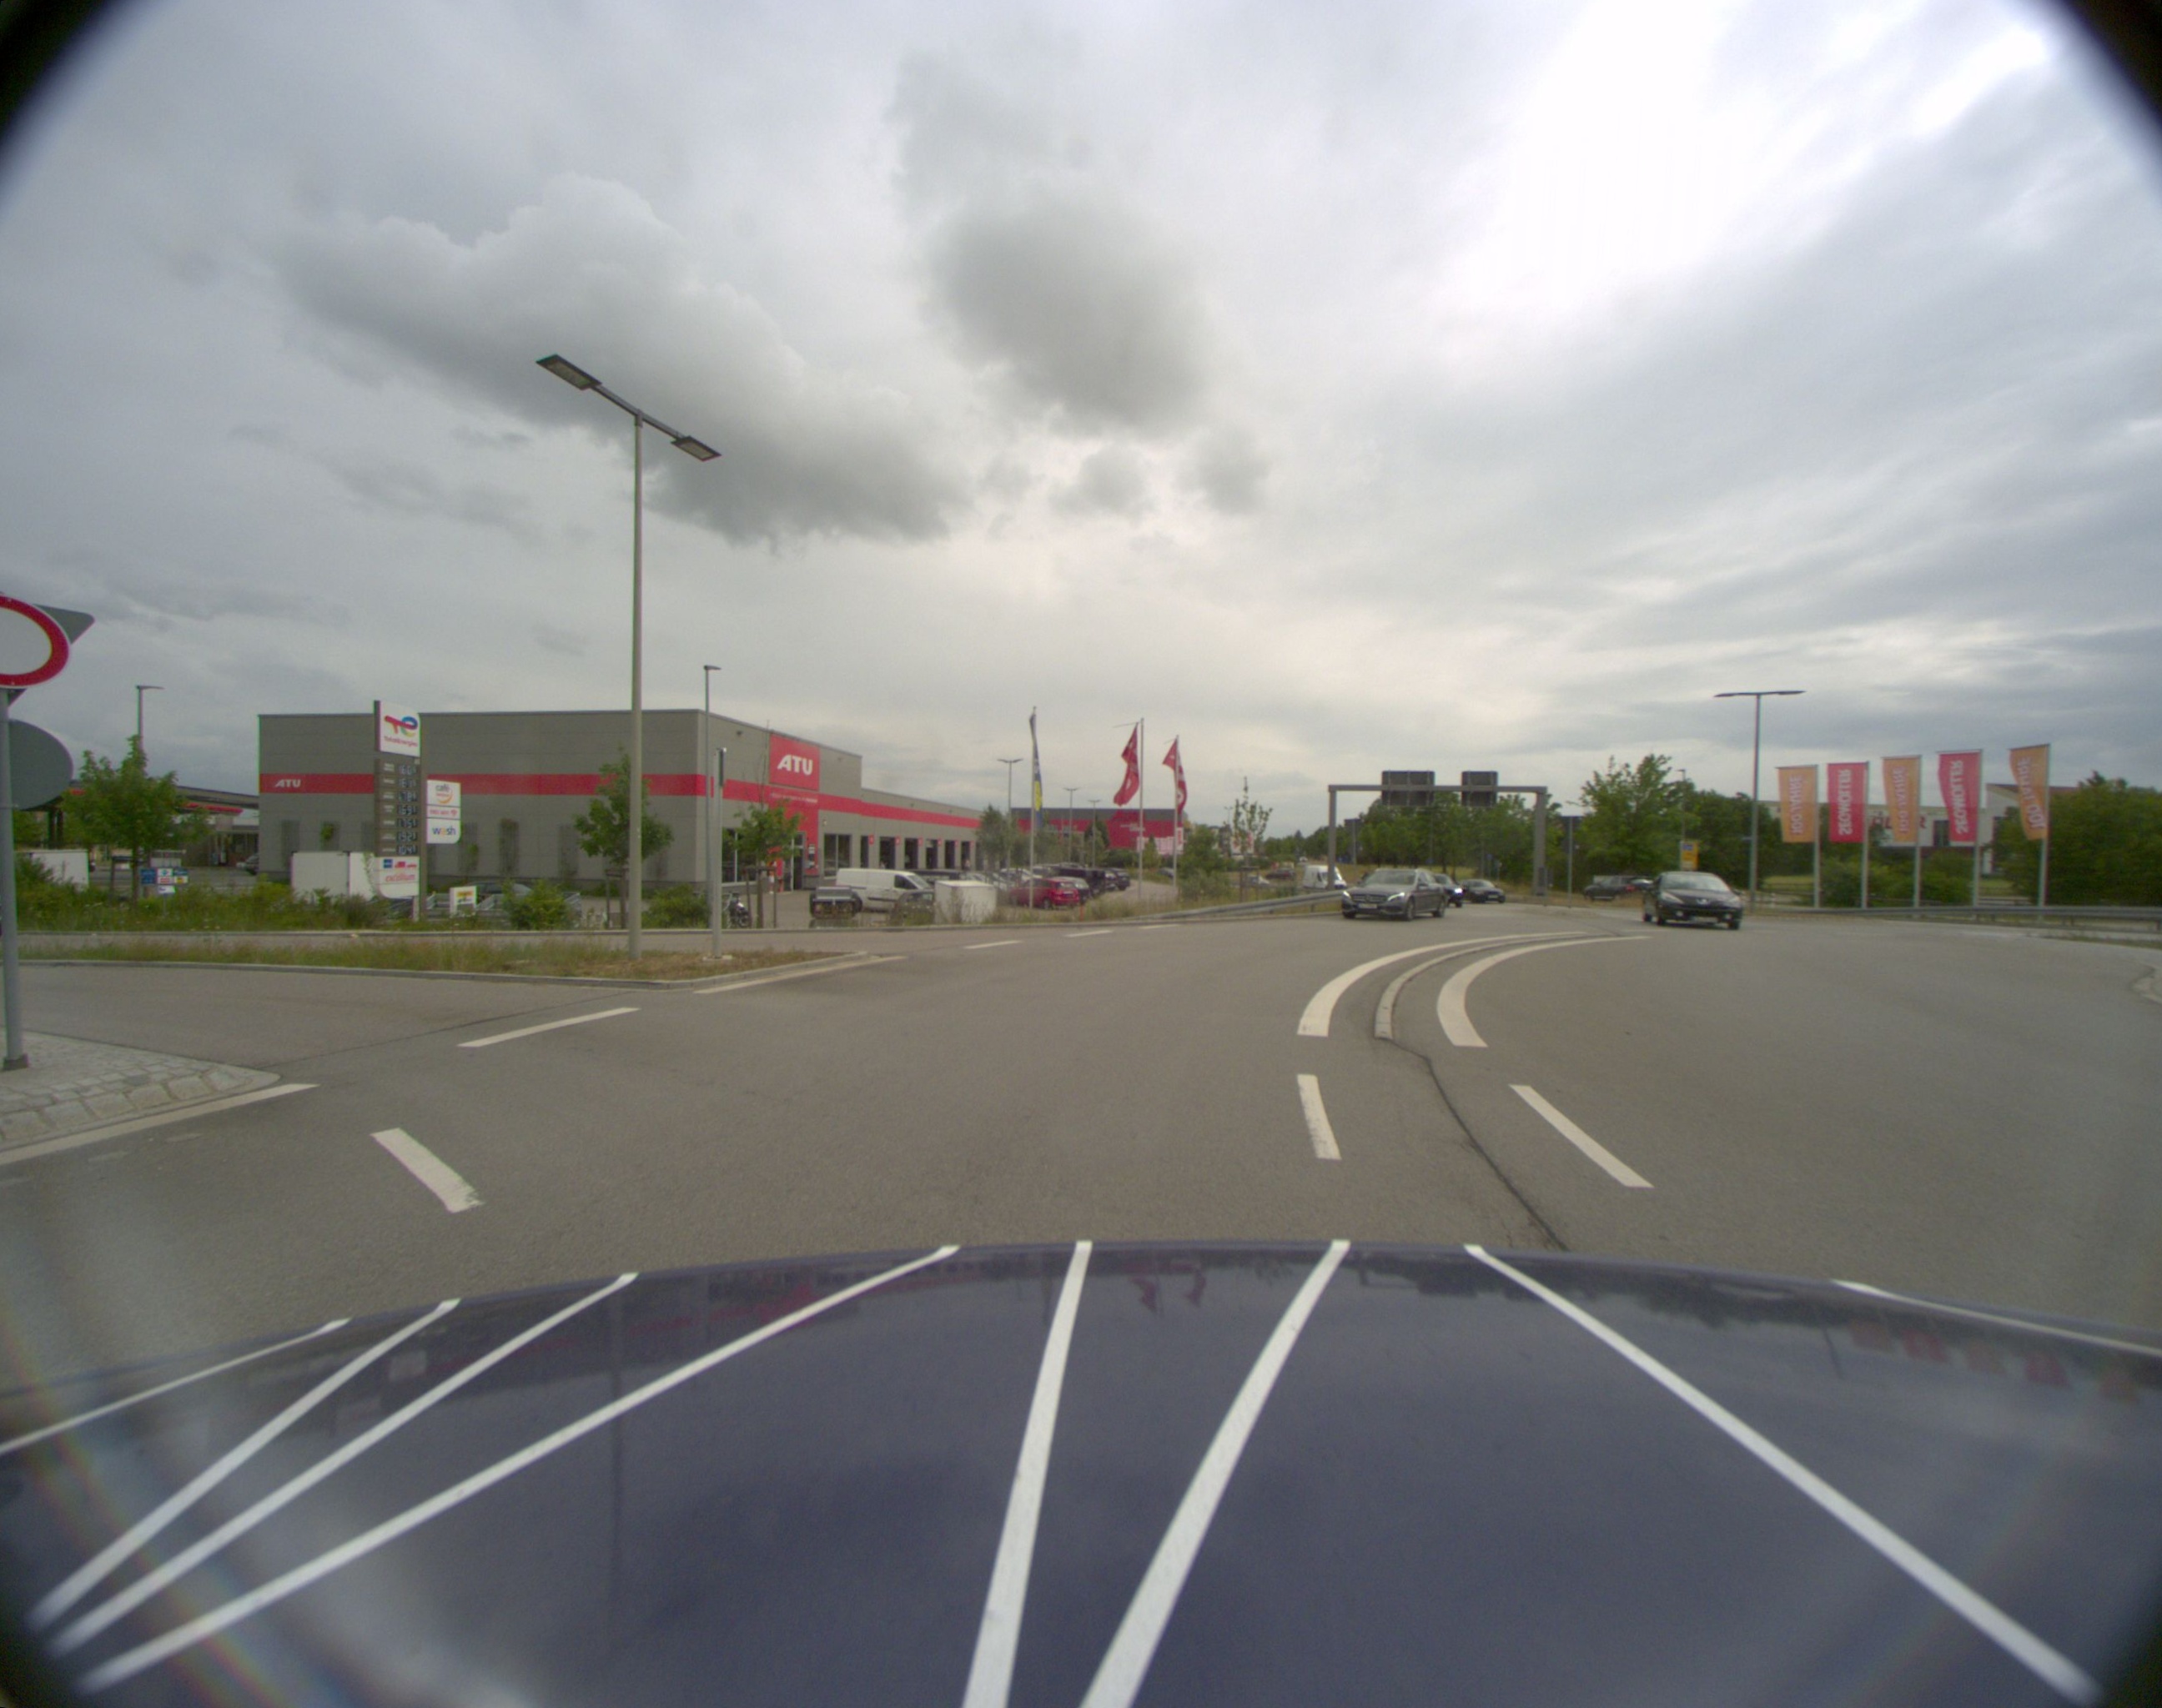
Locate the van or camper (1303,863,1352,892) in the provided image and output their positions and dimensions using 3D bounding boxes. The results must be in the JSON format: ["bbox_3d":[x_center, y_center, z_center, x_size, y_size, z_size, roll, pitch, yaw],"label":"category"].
[{"bbox_3d":[21.481,2.009,66.474,2.053,2.350,5.538,0,0,-5],"label":"van or camper"}]

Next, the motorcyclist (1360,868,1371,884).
[{"bbox_3d":[29.874,2.310,79.741,0.675,1.566,0.846,2,-1,-12],"label":"motorcyclist"}]

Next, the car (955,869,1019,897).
[{"bbox_3d":[-5.792,1.773,47.056,3.695,1.628,1.592,-1,0,6],"label":"car"}]

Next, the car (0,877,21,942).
[{"bbox_3d":[-28.267,1.414,18.245,3.992,1.565,1.919,-2,0,14],"label":"car"}]

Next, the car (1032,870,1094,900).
[{"bbox_3d":[-1.176,1.920,47.220,1.775,1.570,4.065,2,0,-37],"label":"car"}]

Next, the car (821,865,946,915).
[{"bbox_3d":[-8.879,1.583,34.355,5.072,2.035,2.001,1,0,6],"label":"car"}]

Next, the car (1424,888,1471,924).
[{"bbox_3d":[18.044,2.510,37.529,1.856,1.403,4.565,0,0,23],"label":"car"}]

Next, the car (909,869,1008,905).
[{"bbox_3d":[-6.349,1.691,39.547,4.669,1.631,1.916,2,0,6],"label":"car"}]

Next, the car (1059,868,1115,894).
[{"bbox_3d":[0.400,1.882,53.257,1.910,1.701,4.066,2,-1,-34],"label":"car"}]

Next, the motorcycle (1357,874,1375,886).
[{"bbox_3d":[29.920,2.704,79.755,0.703,1.222,2.248,2,-2,-11],"label":"motorcycle"}]

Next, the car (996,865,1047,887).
[{"bbox_3d":[-4.622,1.715,59.456,3.695,1.628,1.592,-1,0,6],"label":"car"}]

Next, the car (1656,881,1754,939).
[{"bbox_3d":[16.577,1.426,20.351,1.576,1.346,3.832,1,-1,33],"label":"car"}]

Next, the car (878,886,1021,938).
[{"bbox_3d":[-4.825,2.105,28.254,4.829,1.665,1.967,1,0,6],"label":"car"}]

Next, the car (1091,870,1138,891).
[{"bbox_3d":[2.732,2.137,62.111,1.740,1.612,4.067,3,-3,-34],"label":"car"}]

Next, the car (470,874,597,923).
[{"bbox_3d":[-20.927,1.644,29.106,3.746,1.565,1.912,-2,0,-40],"label":"car"}]

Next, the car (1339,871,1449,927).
[{"bbox_3d":[9.021,1.237,21.720,1.760,1.411,4.101,0,-2,39],"label":"car"}]

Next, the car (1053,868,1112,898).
[{"bbox_3d":[0.043,1.856,49.706,1.909,1.896,4.067,0,-1,-34],"label":"car"}]

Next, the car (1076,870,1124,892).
[{"bbox_3d":[1.417,2.112,59.300,1.654,1.612,4.067,3,-2,-34],"label":"car"}]

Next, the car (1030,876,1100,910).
[{"bbox_3d":[-0.978,2.198,43.527,1.775,1.570,4.064,2,1,-40],"label":"car"}]

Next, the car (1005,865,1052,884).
[{"bbox_3d":[-4.370,1.716,63.297,3.695,1.535,1.592,-1,0,6],"label":"car"}]

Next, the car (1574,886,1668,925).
[{"bbox_3d":[29.199,2.717,41.332,2.102,1.780,5.054,0,0,8],"label":"car"}]

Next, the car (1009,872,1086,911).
[{"bbox_3d":[-1.835,1.930,40.428,1.775,1.571,4.063,0,4,-44],"label":"car"}]

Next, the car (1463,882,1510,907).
[{"bbox_3d":[23.489,2.309,44.162,1.577,1.261,3.317,0,0,12],"label":"car"}]

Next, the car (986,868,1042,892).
[{"bbox_3d":[-4.747,1.813,54.086,3.695,1.628,1.592,-1,0,6],"label":"car"}]

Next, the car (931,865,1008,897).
[{"bbox_3d":[-6.514,1.571,44.532,4.196,1.825,1.592,-1,0,6],"label":"car"}]
